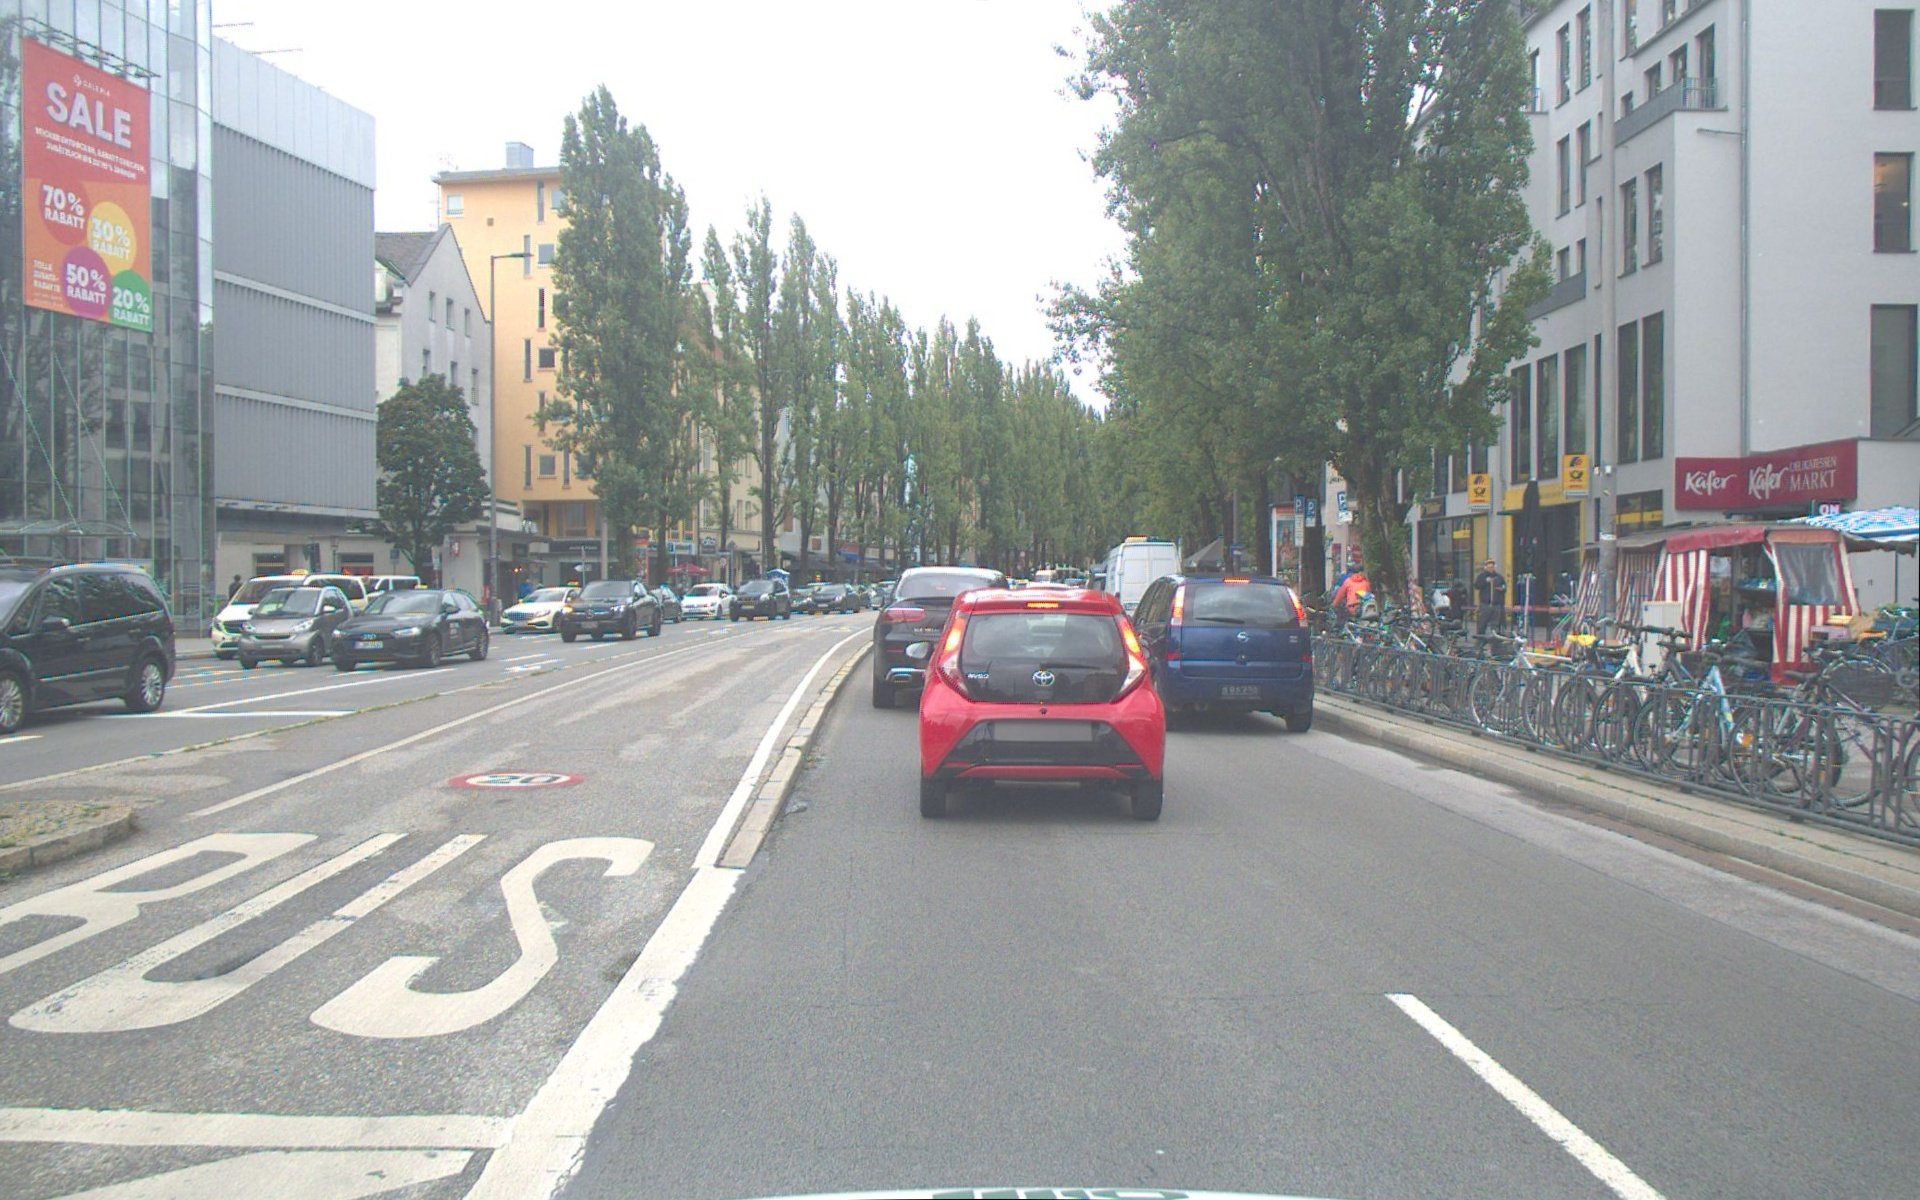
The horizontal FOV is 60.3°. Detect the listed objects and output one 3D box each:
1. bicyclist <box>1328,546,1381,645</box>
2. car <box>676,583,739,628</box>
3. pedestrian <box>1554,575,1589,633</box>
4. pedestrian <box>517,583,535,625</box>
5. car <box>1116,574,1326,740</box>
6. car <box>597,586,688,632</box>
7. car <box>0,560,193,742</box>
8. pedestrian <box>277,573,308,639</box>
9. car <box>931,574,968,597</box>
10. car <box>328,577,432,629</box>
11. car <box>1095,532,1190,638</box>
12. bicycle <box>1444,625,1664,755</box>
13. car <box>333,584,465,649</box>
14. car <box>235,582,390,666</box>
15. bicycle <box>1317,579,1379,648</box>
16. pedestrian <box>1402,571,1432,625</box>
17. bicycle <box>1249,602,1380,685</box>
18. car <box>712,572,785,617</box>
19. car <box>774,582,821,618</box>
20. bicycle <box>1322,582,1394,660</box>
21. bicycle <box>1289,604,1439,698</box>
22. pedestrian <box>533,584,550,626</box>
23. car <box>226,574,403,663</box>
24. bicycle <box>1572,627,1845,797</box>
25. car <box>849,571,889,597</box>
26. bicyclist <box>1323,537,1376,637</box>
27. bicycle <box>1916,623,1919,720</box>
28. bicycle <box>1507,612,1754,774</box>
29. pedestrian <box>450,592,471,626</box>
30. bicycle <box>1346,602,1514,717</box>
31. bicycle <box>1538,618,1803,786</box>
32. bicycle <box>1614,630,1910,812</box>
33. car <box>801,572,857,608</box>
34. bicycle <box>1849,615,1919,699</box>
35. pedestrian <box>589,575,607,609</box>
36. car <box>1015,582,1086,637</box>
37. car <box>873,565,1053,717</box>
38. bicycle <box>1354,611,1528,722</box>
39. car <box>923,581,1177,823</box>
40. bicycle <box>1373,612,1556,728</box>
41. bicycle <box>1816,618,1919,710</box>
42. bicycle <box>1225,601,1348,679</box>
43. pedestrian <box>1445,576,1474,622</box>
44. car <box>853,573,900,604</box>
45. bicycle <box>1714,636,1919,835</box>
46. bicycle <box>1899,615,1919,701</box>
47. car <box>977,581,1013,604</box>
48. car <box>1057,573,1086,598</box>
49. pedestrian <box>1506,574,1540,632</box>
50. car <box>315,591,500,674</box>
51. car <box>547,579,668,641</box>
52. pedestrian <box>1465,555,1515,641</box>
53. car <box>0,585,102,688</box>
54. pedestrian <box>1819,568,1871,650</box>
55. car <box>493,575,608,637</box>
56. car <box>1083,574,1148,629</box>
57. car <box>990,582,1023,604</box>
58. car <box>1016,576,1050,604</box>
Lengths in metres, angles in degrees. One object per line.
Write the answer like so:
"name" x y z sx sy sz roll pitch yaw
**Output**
"bicyclist" 6.893 -0.082 28.947 0.601 1.686 1.251 -1 1 -1
"car" -10.958 0.210 72.109 1.817 1.847 4.002 2 0 4
"pedestrian" 16.711 0.107 45.229 0.698 1.585 0.676 0 0 -1
"pedestrian" -21.171 0.195 80.750 0.673 2.032 0.765 0 0 -1
"car" 2.755 0.534 18.129 1.668 1.617 3.555 -1 1 -1
"car" -11.947 0.317 62.517 1.951 1.637 4.537 -1 1 9
"car" -10.349 0.496 17.950 1.897 1.769 4.588 -1 1 0
"pedestrian" -18.978 0.165 47.018 0.545 1.849 0.628 0 0 10
"car" -0.784 -1.107 128.013 1.951 1.721 4.418 0 1 11
"car" -20.956 0.075 59.946 1.830 1.803 4.245 0 1 7
"car" 5.007 -0.428 45.959 2.064 2.766 4.803 -1 1 0
"bicycle" 5.371 0.785 15.015 1.805 1.070 0.583 0 1 42
"car" -15.799 0.435 46.872 1.952 1.684 4.535 2 0 3
"car" -12.814 0.502 32.950 1.590 1.579 3.385 0 -2 3
"bicycle" 7.596 0.233 32.456 0.601 1.287 2.519 -1 1 -1
"pedestrian" 13.698 -0.067 49.614 0.698 1.585 0.676 0 0 -1
"bicycle" 5.169 0.613 24.160 1.800 1.156 0.584 0 1 35
"car" -8.388 -0.237 66.146 1.952 1.721 4.924 1 1 4
"car" -8.709 -0.003 88.834 1.817 1.847 4.002 2 0 4
"bicycle" 6.907 0.337 28.812 0.601 1.287 2.519 -1 1 -1
"bicycle" 5.226 0.637 21.432 1.800 1.156 0.584 0 1 35
"pedestrian" -20.440 0.220 80.782 0.673 2.032 0.765 0 0 -2
"car" -15.862 0.383 41.010 1.952 2.049 5.525 0 1 3
"bicycle" 5.474 0.787 12.164 1.772 1.130 0.488 0 1 42
"car" -6.149 -1.102 111.846 1.951 1.721 4.925 -1 1 6
"bicyclist" 7.624 -0.258 32.405 0.747 1.902 1.132 -1 1 -1
"bicycle" 10.317 0.724 16.582 1.235 0.980 0.369 -1 0 1
"bicycle" 5.488 0.726 13.610 1.805 1.218 0.583 0 1 42
"pedestrian" -19.713 0.349 65.312 0.545 1.313 0.628 0 0 10
"bicycle" 5.432 0.663 19.177 1.805 1.263 0.583 0 1 42
"bicycle" 5.478 0.750 12.828 1.805 1.188 0.583 0 1 42
"bicycle" 5.544 0.794 11.501 1.772 1.130 0.583 0 1 42
"car" -6.472 -0.503 82.256 1.951 1.721 4.924 0 1 5
"bicycle" 11.276 0.672 19.676 1.219 0.980 0.369 -1 0 -3
"pedestrian" -19.782 -0.449 90.413 0.673 1.842 0.766 0 0 10
"car" 2.464 0.234 45.818 1.665 1.451 3.496 0 1 -2
"car" -0.020 0.416 19.986 1.953 1.646 3.999 0 1 -2
"bicycle" 5.358 0.719 18.508 1.805 1.156 0.583 0 1 42
"car" 0.549 0.617 11.826 1.572 1.487 3.130 0 1 0
"bicycle" 5.393 0.719 17.748 1.805 1.156 0.583 0 1 42
"bicycle" 10.164 0.691 18.067 1.401 0.980 0.369 -1 0 4
"bicycle" 5.051 0.597 25.624 1.800 1.156 0.584 0 1 35
"pedestrian" 14.491 -0.025 47.980 0.625 1.328 0.676 0 0 -1
"car" -4.766 -0.646 95.197 1.951 1.721 4.924 1 0 5
"bicycle" 5.605 0.808 10.075 1.772 1.130 0.559 0 1 41
"bicycle" 11.588 0.662 19.171 1.219 0.980 0.369 -1 0 -3
"car" 2.673 -0.585 124.777 1.951 1.721 4.418 0 1 11
"car" 8.447 -1.083 125.485 1.951 1.870 4.003 0 1 7
"pedestrian" 15.482 0.076 45.488 0.698 1.585 0.676 0 0 -1
"car" -10.229 0.555 31.002 1.807 1.406 4.602 0 1 1
"car" -9.411 0.233 44.500 1.951 1.561 4.590 0 1 4
"pedestrian" 11.020 -0.039 34.376 0.774 1.758 0.763 -1 0 -1
"car" -16.703 0.596 27.723 1.951 1.708 4.187 0 0 11
"pedestrian" 15.603 0.152 29.162 0.586 1.427 0.580 -1 0 -1
"car" -13.469 0.148 54.681 1.951 1.847 4.537 -2 1 10
"car" 4.872 0.032 52.174 1.668 1.691 3.555 0 0 -1
"car" 3.737 -0.579 132.621 1.951 1.721 4.418 0 1 11
"car" 3.985 -0.554 89.685 1.735 1.464 3.940 0 1 4
